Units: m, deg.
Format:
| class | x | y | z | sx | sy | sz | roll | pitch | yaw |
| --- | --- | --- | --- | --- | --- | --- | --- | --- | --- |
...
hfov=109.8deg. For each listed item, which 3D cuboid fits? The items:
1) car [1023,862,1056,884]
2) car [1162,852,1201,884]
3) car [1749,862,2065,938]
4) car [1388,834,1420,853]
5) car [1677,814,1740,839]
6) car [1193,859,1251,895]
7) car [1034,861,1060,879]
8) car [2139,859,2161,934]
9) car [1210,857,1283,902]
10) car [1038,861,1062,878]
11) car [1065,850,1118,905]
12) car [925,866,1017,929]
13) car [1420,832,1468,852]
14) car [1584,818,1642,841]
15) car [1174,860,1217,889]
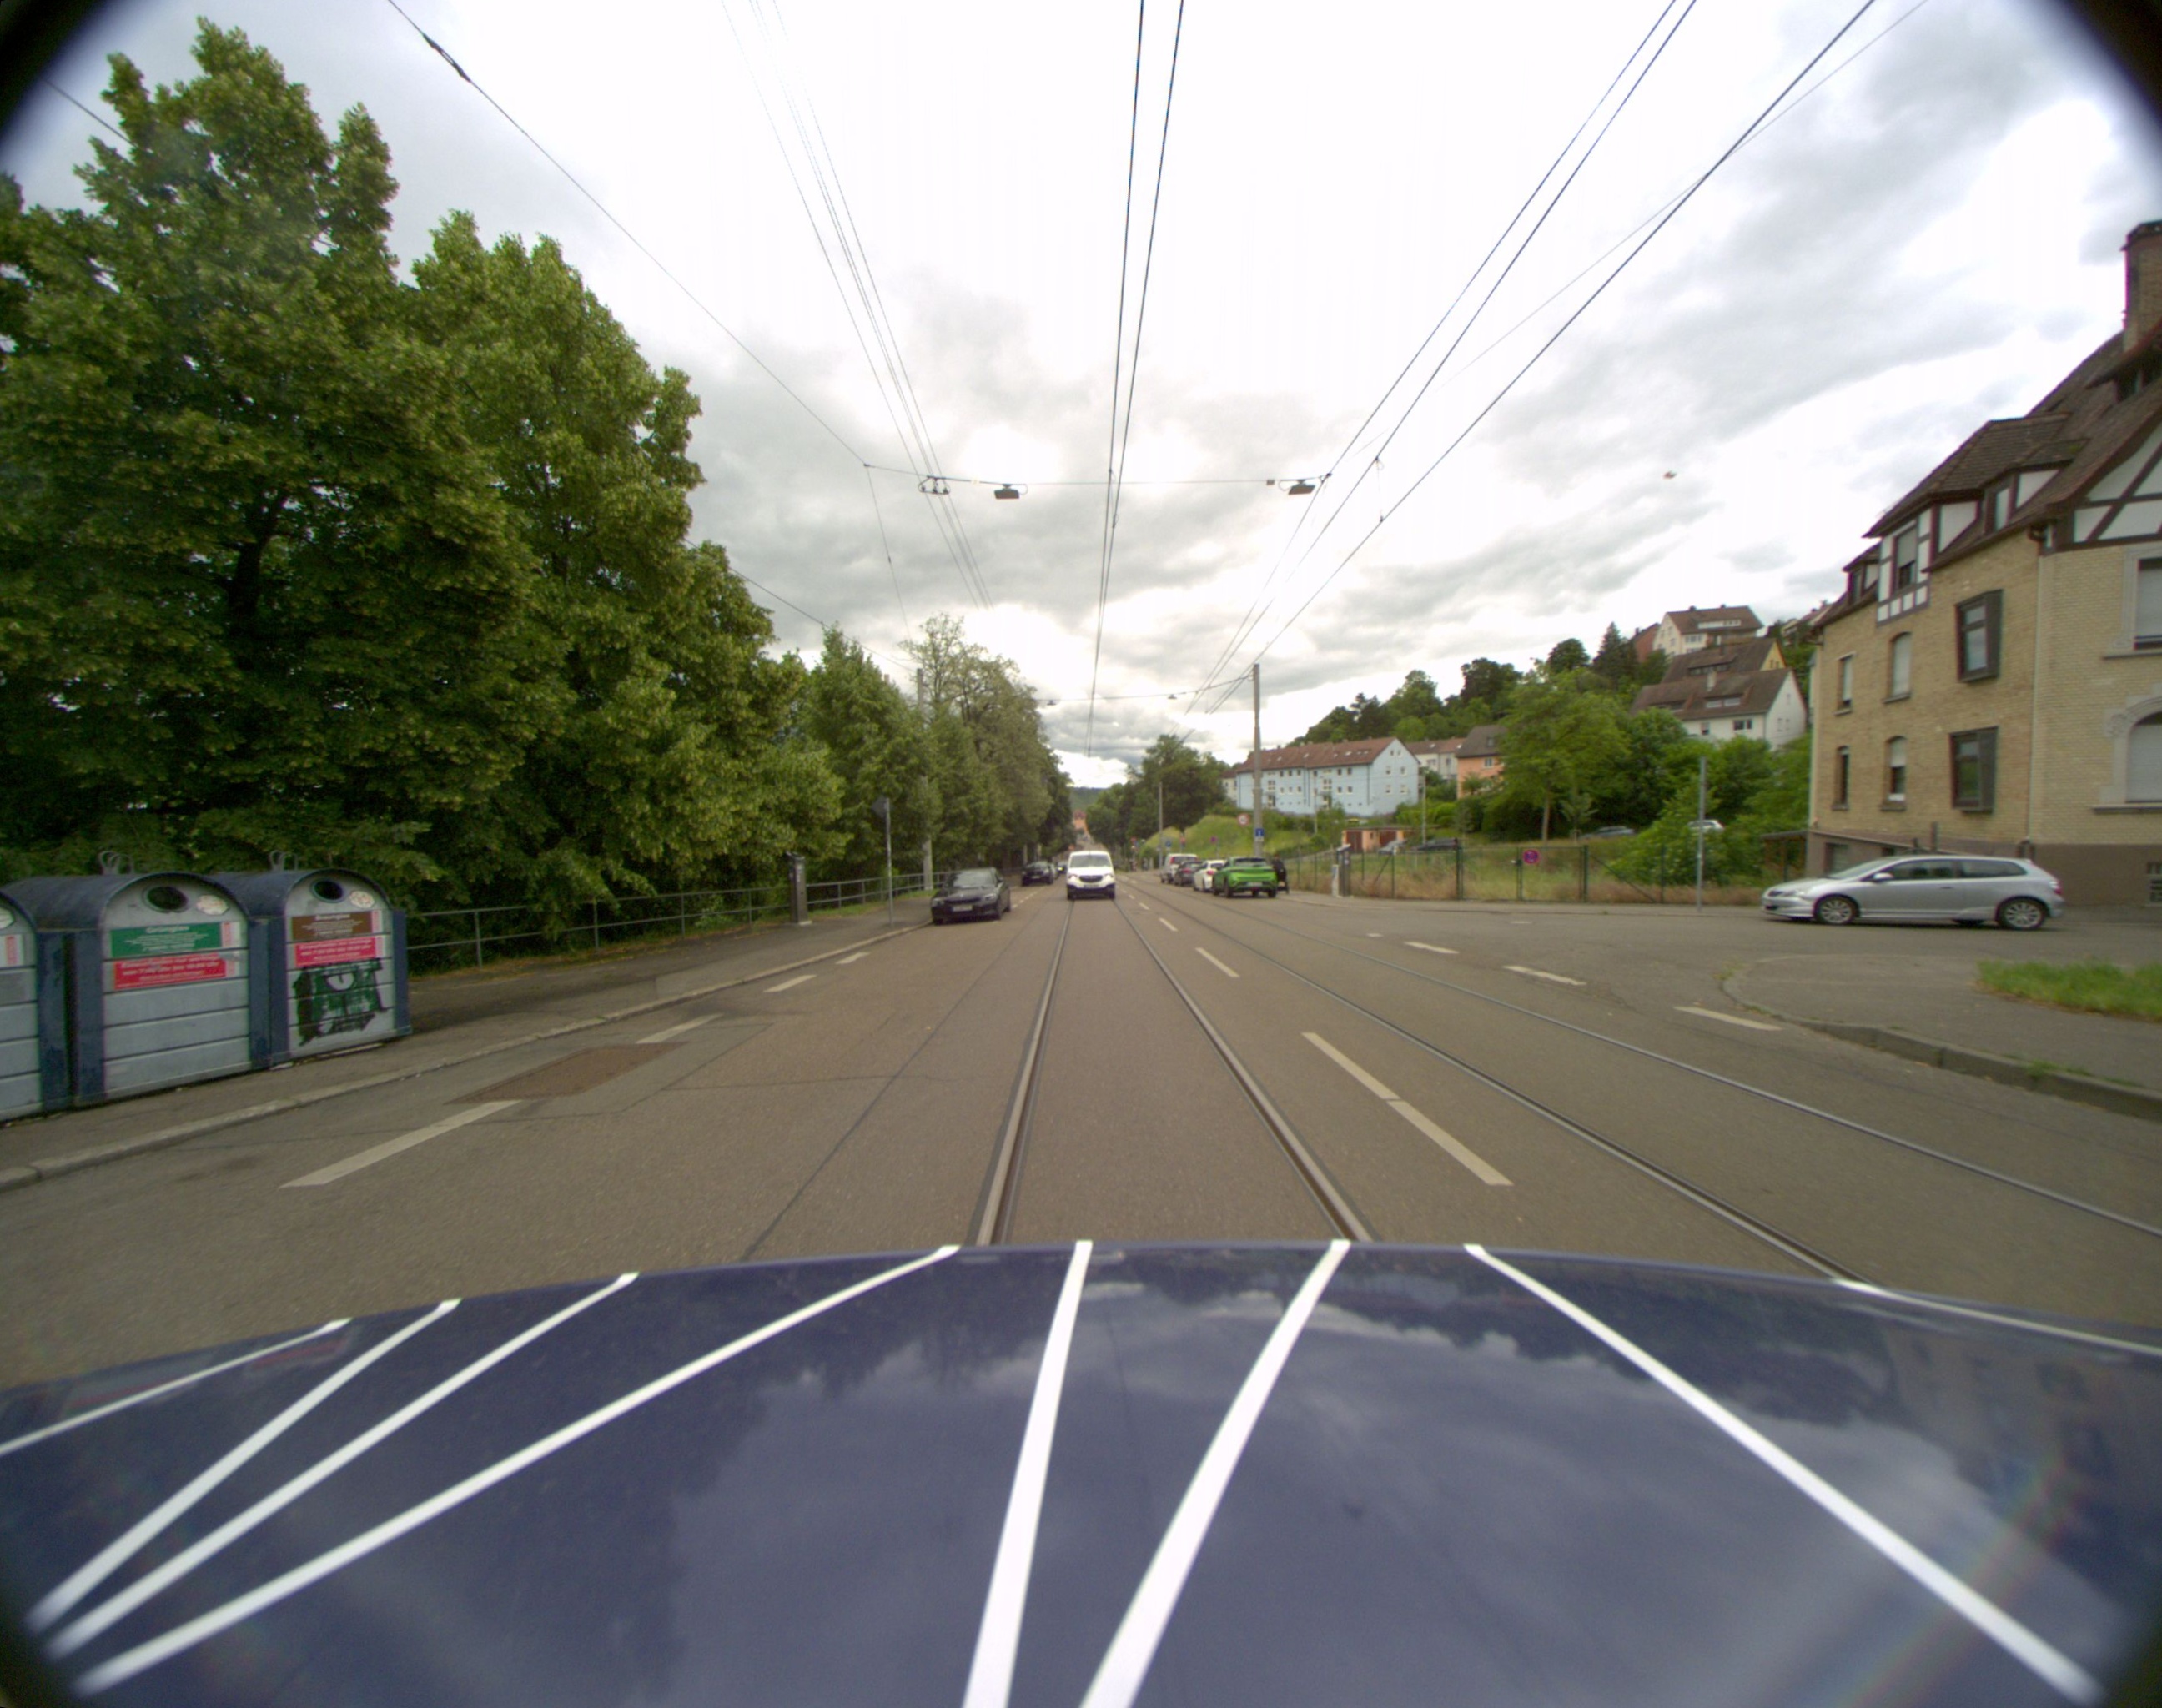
| class | x | y | z | sx | sy | sz | roll | pitch | yaw |
| --- | --- | --- | --- | --- | --- | --- | --- | --- | --- |
| car | -2.801 | 1.288 | 51.907 | 1.822 | 1.344 | 3.940 | -3 | 0 | 2 |
| car | 6.265 | 0.841 | 47.885 | 1.901 | 1.935 | 4.290 | 1 | 0 | 0 |
| car | 16.465 | 0.859 | 15.447 | 4.004 | 1.369 | 1.698 | 0 | 1 | 24 |
| car | 33.841 | -1.137 | 79.567 | 1.994 | 1.892 | 4.008 | -1 | 0 | 40 |
| car | 52.315 | -2.260 | 63.444 | 3.989 | 1.892 | 2.004 | -1 | 0 | 39 |
| car | 6.217 | 0.979 | 33.983 | 1.856 | 1.485 | 3.948 | 1 | 0 | 0 |
| car | -2.847 | 1.352 | 63.964 | 1.822 | 1.344 | 3.940 | -3 | 0 | 2 |
| car | 21.565 | 0.770 | 12.806 | 4.039 | 1.369 | 1.698 | 0 | 1 | 25 |
| car | 6.084 | 0.908 | 28.410 | 1.856 | 1.531 | 3.948 | -1 | 0 | 0 |
| car | -2.788 | 1.391 | 69.007 | 1.822 | 1.344 | 3.940 | -3 | 0 | 2 |
| car | 0.420 | 0.798 | 28.000 | 1.759 | 1.824 | 4.448 | -2 | 0 | 2 |
| car | -3.038 | 1.156 | 21.908 | 1.863 | 1.434 | 4.388 | -4 | 0 | 1 |
| car | 36.237 | -1.217 | 75.902 | 3.989 | 1.892 | 2.004 | -1 | 0 | 39 |
| car | 47.132 | -2.120 | 67.325 | 3.989 | 1.892 | 2.004 | -1 | 0 | 39 |
| car | 6.331 | 1.082 | 42.394 | 1.856 | 1.485 | 3.948 | 1 | 0 | 0 |
